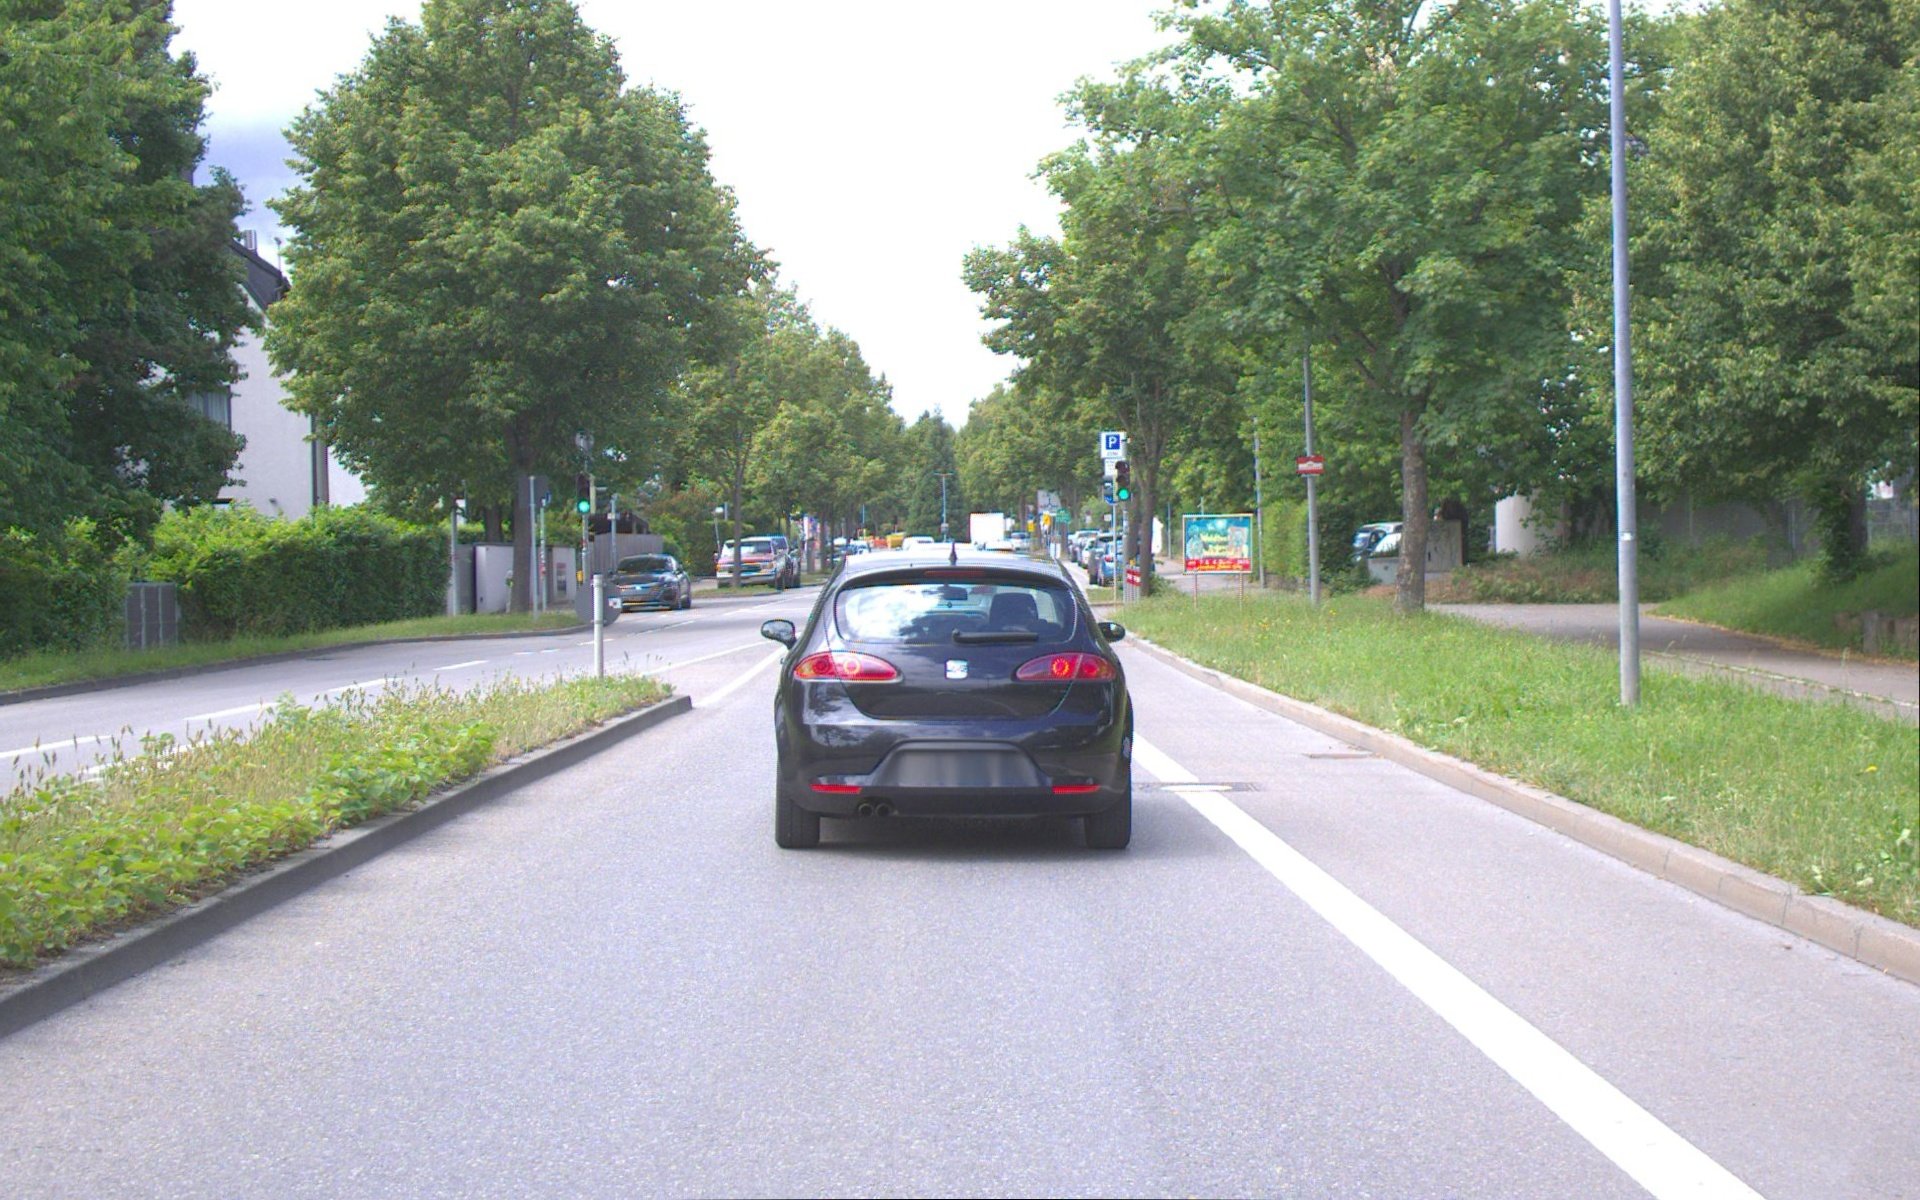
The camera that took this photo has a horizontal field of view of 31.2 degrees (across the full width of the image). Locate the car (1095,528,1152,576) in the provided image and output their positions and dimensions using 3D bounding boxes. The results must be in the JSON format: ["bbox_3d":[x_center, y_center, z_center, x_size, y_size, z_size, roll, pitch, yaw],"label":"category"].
[{"bbox_3d":[5.258,-1.553,110.783,1.688,1.485,3.355,-1,1,1],"label":"car"}]

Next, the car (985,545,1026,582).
[{"bbox_3d":[2.122,-1.743,161.477,1.881,1.683,4.214,-1,1,1],"label":"car"}]

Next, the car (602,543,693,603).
[{"bbox_3d":[-7.894,-0.705,87.191,1.718,1.390,4.801,-3,1,1],"label":"car"}]

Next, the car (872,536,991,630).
[{"bbox_3d":[-0.442,-0.310,57.789,1.846,1.504,3.812,1,1,2],"label":"car"}]

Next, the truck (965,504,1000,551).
[{"bbox_3d":[1.545,-4.949,236.032,2.279,3.093,8.511,1,1,0],"label":"truck"}]

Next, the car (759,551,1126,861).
[{"bbox_3d":[-0.094,0.456,17.642,1.663,1.396,3.812,1,1,0],"label":"car"}]

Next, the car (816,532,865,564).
[{"bbox_3d":[-6.010,-2.661,173.765,2.100,1.501,5.784,-3,1,1],"label":"car"}]

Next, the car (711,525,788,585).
[{"bbox_3d":[-7.101,-1.538,116.598,2.100,1.890,5.784,-3,1,1],"label":"car"}]

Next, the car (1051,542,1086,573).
[{"bbox_3d":[5.788,-2.295,183.536,1.688,1.559,4.214,-3,1,1],"label":"car"}]

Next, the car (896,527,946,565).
[{"bbox_3d":[-1.740,-2.444,154.762,1.875,1.629,4.340,-3,1,3],"label":"car"}]

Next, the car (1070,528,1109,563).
[{"bbox_3d":[5.982,-2.532,159.150,1.688,1.559,4.214,-1,1,1],"label":"car"}]
